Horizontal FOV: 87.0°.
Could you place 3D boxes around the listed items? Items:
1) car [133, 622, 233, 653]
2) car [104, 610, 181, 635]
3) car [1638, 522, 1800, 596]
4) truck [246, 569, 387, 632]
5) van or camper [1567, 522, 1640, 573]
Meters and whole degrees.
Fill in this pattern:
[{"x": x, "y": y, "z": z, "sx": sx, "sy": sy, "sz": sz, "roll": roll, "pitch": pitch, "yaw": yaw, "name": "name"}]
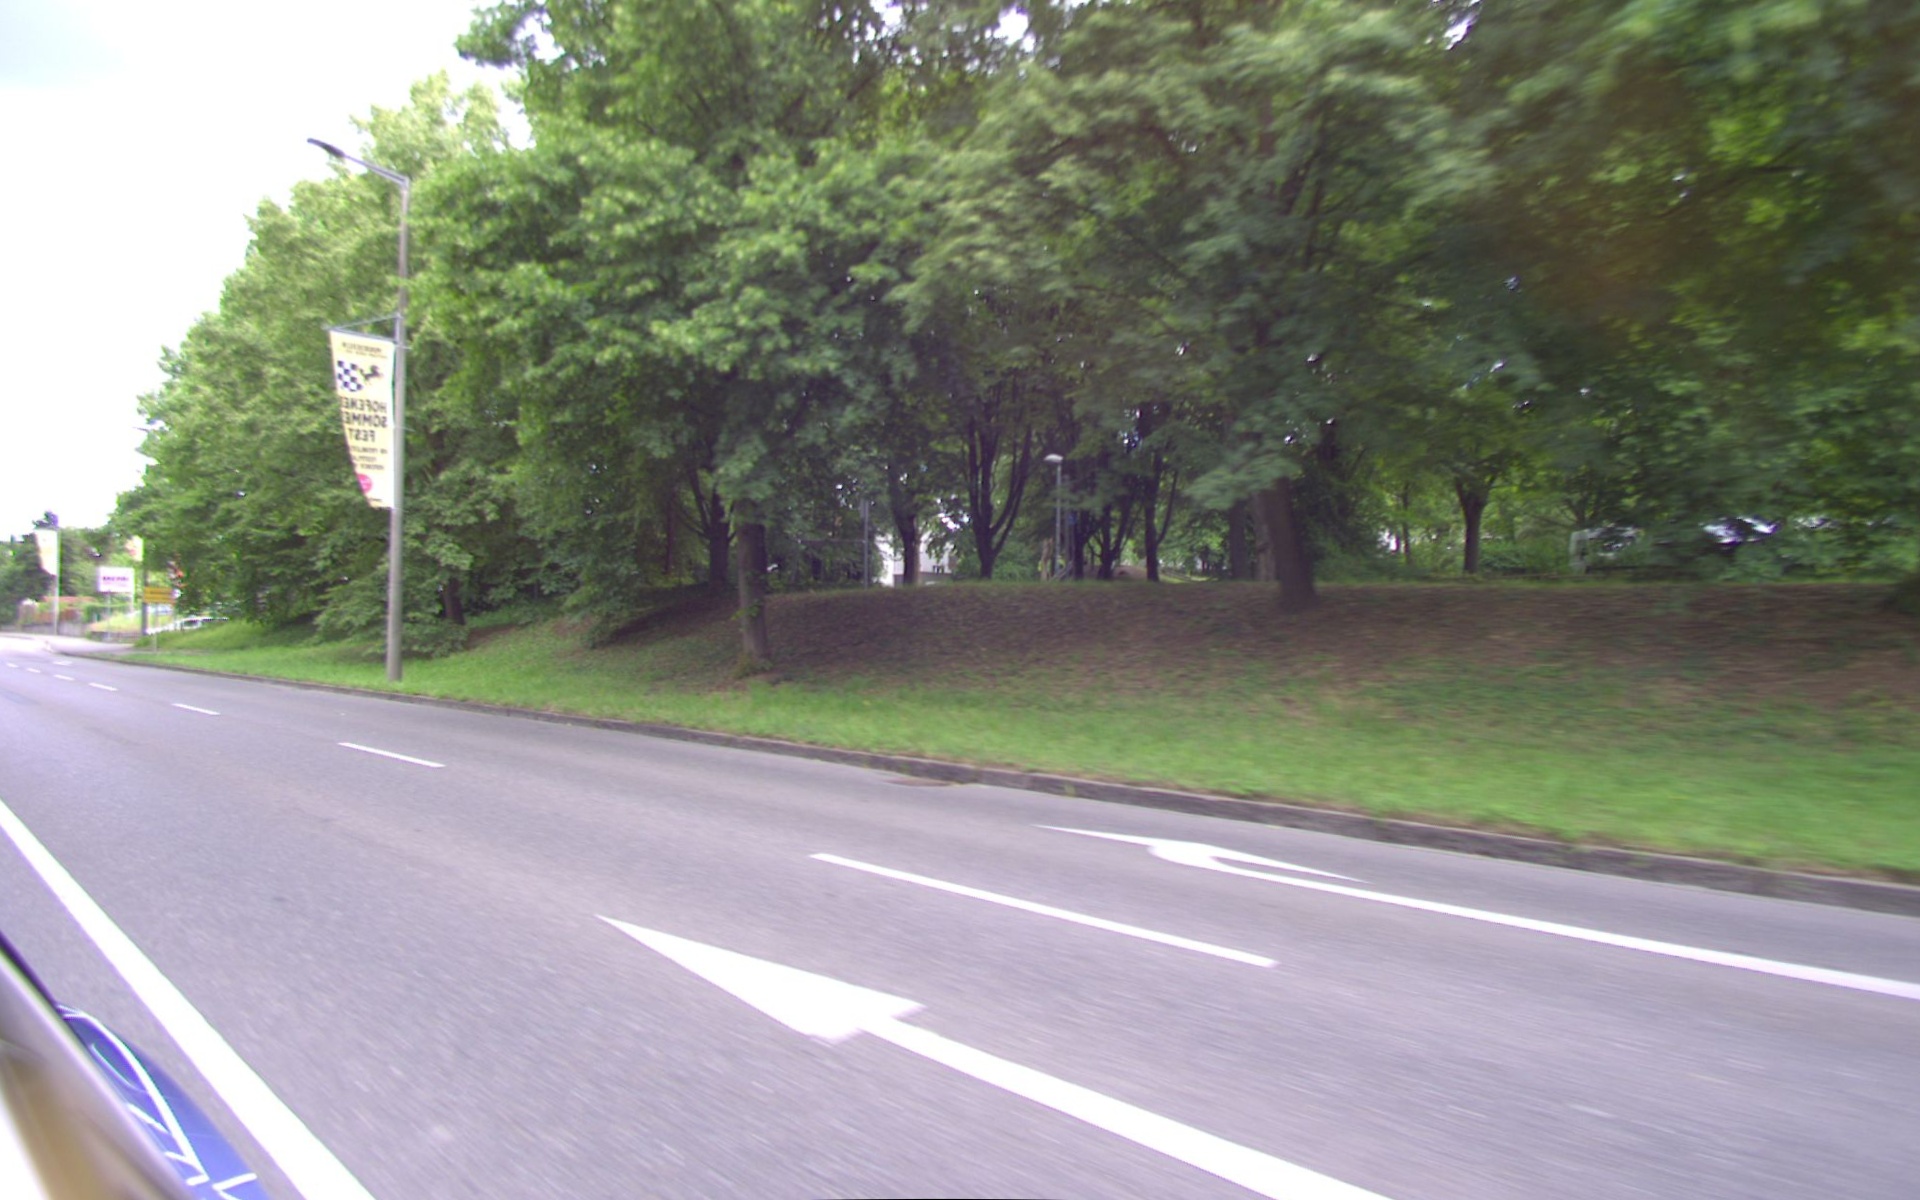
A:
[{"x": -43.558, "y": 2.089, "z": 56.792, "sx": 1.746, "sy": 1.503, "sz": 4.169, "roll": -3, "pitch": -2, "yaw": 38, "name": "car"}, {"x": -56.066, "y": 1.509, "z": 69.445, "sx": 1.879, "sy": 1.630, "sz": 3.855, "roll": -1, "pitch": 0, "yaw": 41, "name": "car"}, {"x": 21.842, "y": -1.104, "z": 29.406, "sx": 1.981, "sy": 1.910, "sz": 4.882, "roll": -1, "pitch": 0, "yaw": 14, "name": "car"}, {"x": -39.328, "y": 0.003, "z": 62.067, "sx": 2.657, "sy": 3.657, "sz": 6.835, "roll": -1, "pitch": 0, "yaw": 41, "name": "truck"}, {"x": 28.860, "y": -2.306, "z": 45.532, "sx": 1.911, "sy": 2.029, "sz": 4.193, "roll": -1, "pitch": 0, "yaw": 21, "name": "van or camper"}]
